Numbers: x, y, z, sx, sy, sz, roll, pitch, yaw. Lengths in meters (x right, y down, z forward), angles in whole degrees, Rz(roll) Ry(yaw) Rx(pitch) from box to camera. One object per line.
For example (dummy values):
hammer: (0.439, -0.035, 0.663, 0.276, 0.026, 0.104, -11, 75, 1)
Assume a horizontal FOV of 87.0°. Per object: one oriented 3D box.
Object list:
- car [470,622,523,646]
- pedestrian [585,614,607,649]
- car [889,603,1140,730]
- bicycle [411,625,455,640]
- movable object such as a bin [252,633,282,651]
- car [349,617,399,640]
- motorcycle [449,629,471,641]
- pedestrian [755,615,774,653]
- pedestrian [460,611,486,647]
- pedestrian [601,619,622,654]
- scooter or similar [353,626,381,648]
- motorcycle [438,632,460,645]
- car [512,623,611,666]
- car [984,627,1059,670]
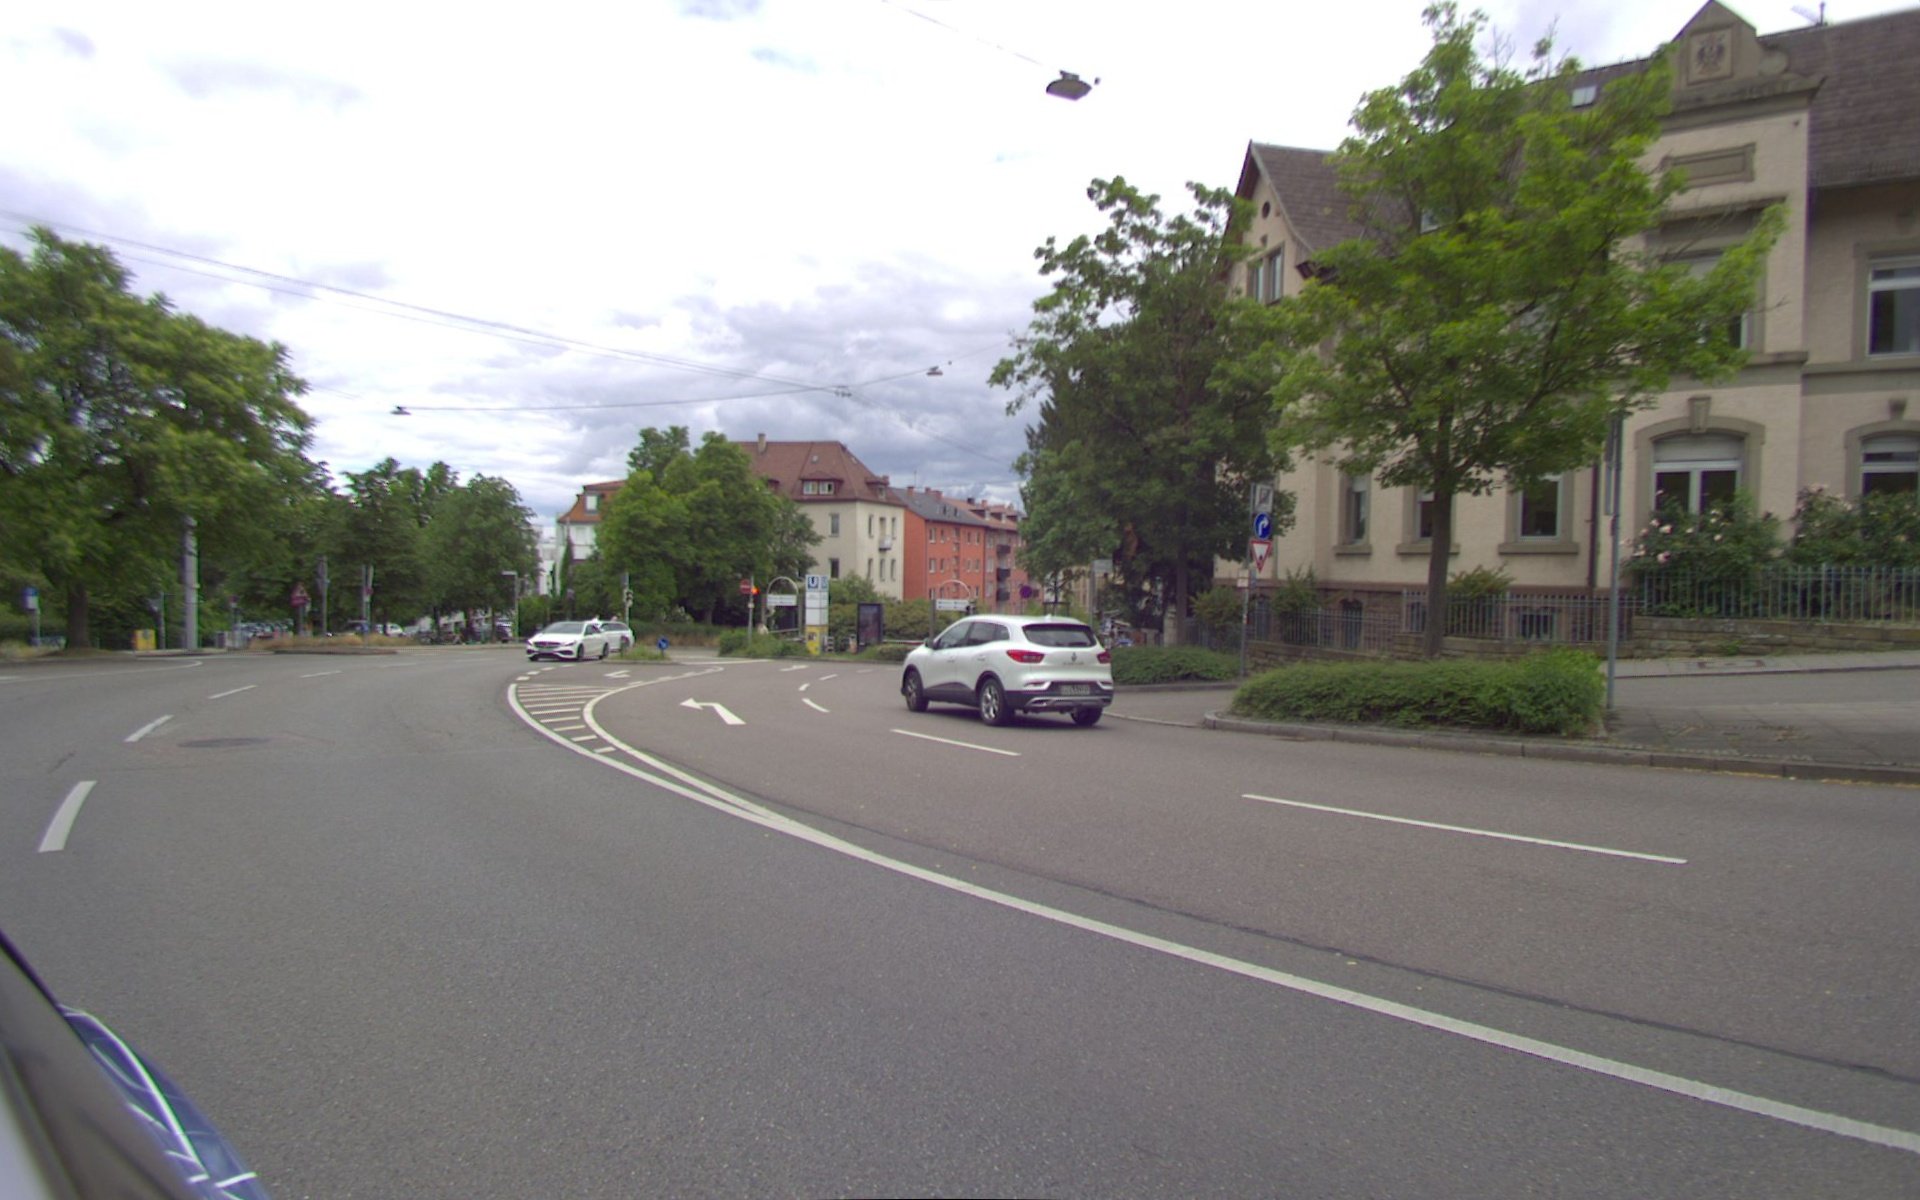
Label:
car: (-40.266, 2.938, 88.007, 3.729, 2.029, 2.003, 1, -2, -6)
pedestrian: (-18.300, 1.600, 50.903, 0.613, 1.725, 0.721, 3, -2, 24)
car: (0.649, 0.946, 15.600, 1.869, 1.667, 4.389, 1, -2, -28)
bicycle: (-40.912, 2.539, 78.567, 0.921, 1.154, 2.919, -1, -3, 35)
movable object such as a bin: (-47.055, 2.835, 68.715, 1.057, 1.175, 1.302, -1, -3, 28)
car: (-49.502, 2.421, 85.555, 1.968, 1.918, 4.722, 0, -2, -8)
motorcycle: (-41.156, 2.884, 83.361, 0.745, 1.041, 2.055, 1, -2, 0)
pedestrian: (-9.787, 1.713, 50.663, 0.704, 1.875, 0.608, -3, -4, 27)
pedestrian: (-25.583, 1.519, 53.167, 0.964, 1.901, 0.846, -2, -3, 39)
pedestrian: (-18.028, 1.897, 52.390, 0.613, 1.725, 0.721, 3, -2, 24)
scooter or similar: (-33.796, 2.117, 57.691, 0.464, 1.257, 1.301, -2, -3, 42)
motorcycle: (-42.055, 3.182, 83.241, 0.745, 1.041, 2.055, 1, -2, 0)
car: (-14.249, 1.566, 36.458, 1.971, 1.409, 4.231, 1, -1, -2)
car: (2.804, 2.138, 45.517, 1.909, 1.844, 4.001, -1, -2, 28)
